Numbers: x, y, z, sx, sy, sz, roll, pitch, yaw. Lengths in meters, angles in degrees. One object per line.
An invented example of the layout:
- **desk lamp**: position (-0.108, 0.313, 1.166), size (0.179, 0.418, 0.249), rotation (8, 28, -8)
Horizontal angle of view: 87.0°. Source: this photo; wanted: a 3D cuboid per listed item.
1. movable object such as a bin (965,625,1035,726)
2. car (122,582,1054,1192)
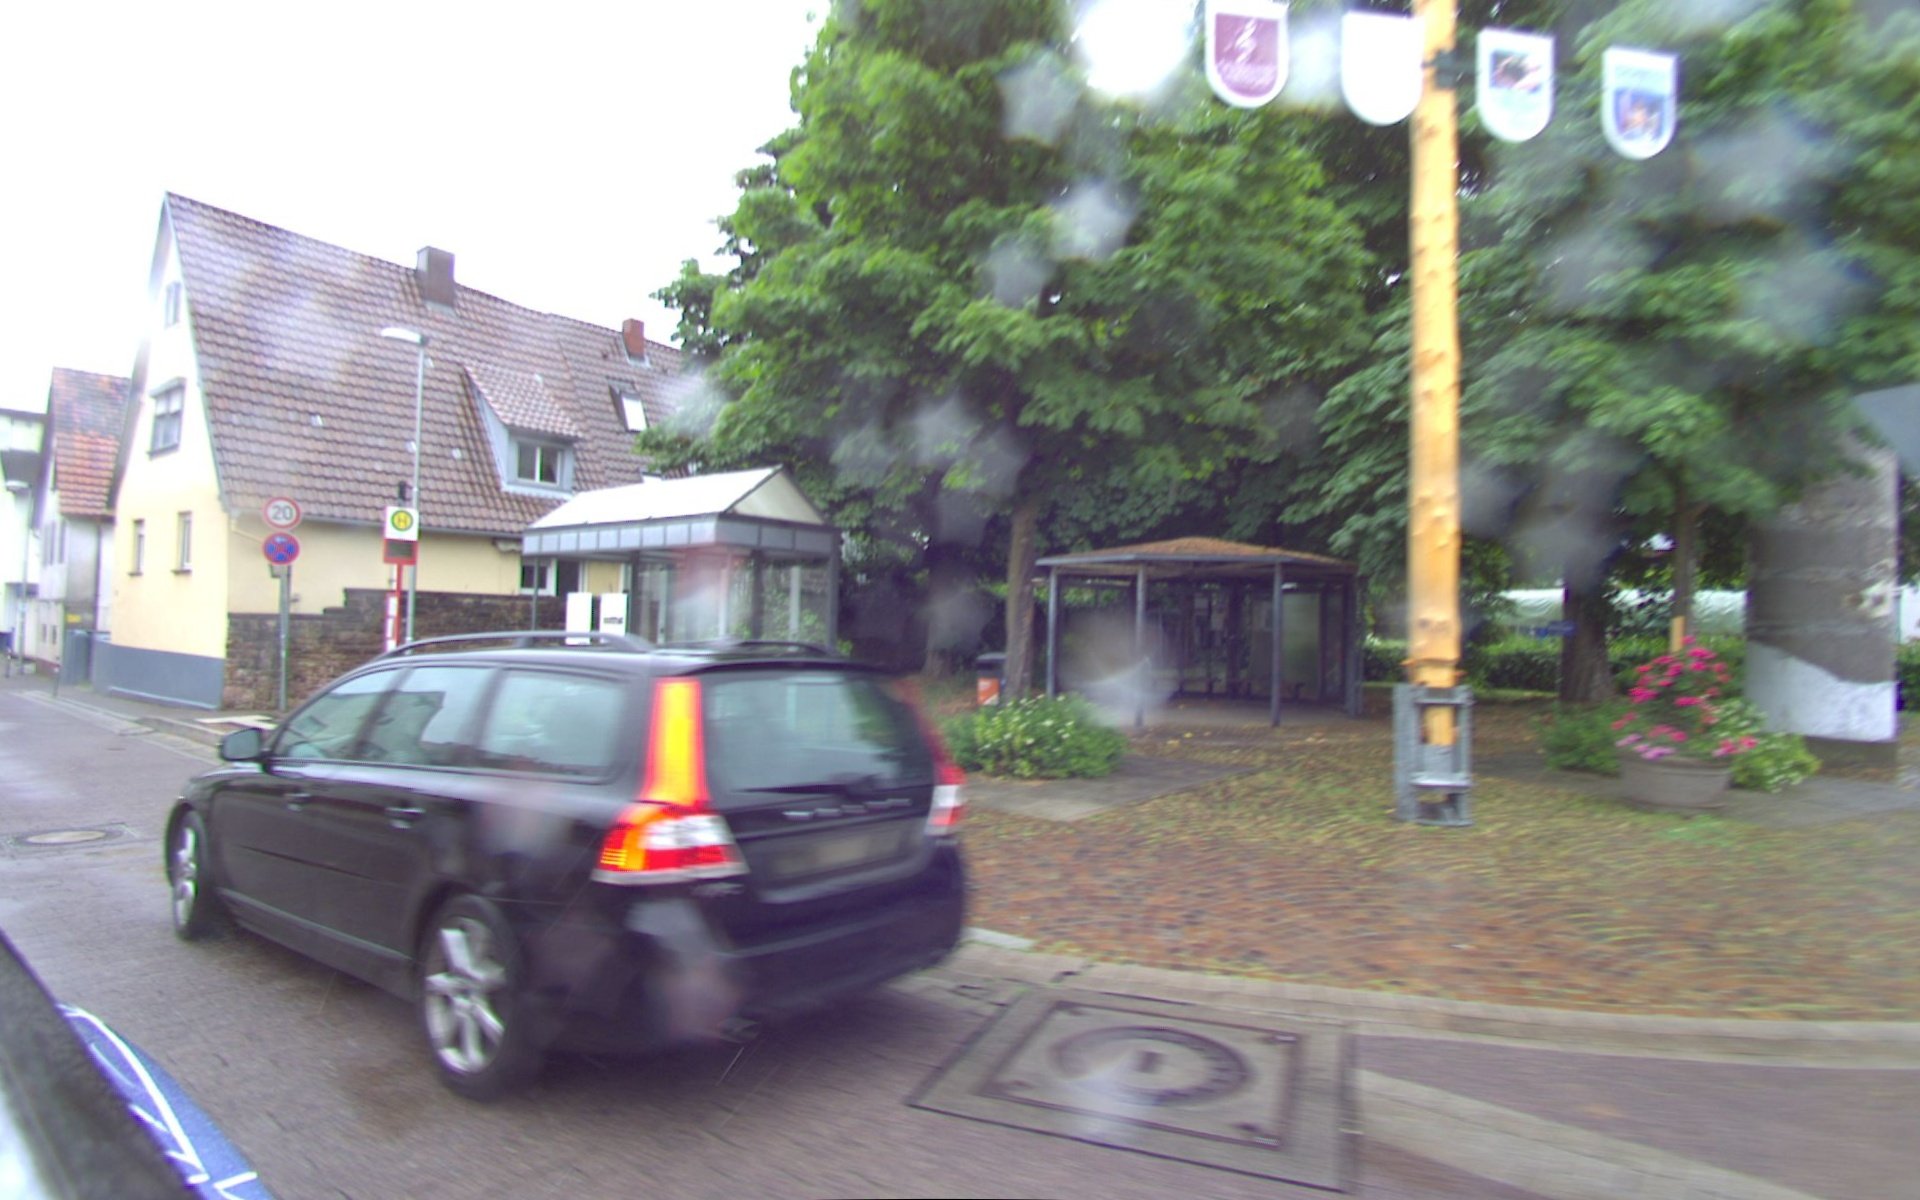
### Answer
- **movable object such as a bin**: position (0.484, 0.893, 12.209), size (0.604, 1.155, 0.556), rotation (1, -2, 39)
- **car**: position (-1.893, 0.795, 4.530), size (4.306, 1.488, 1.827), rotation (-2, -4, 36)
